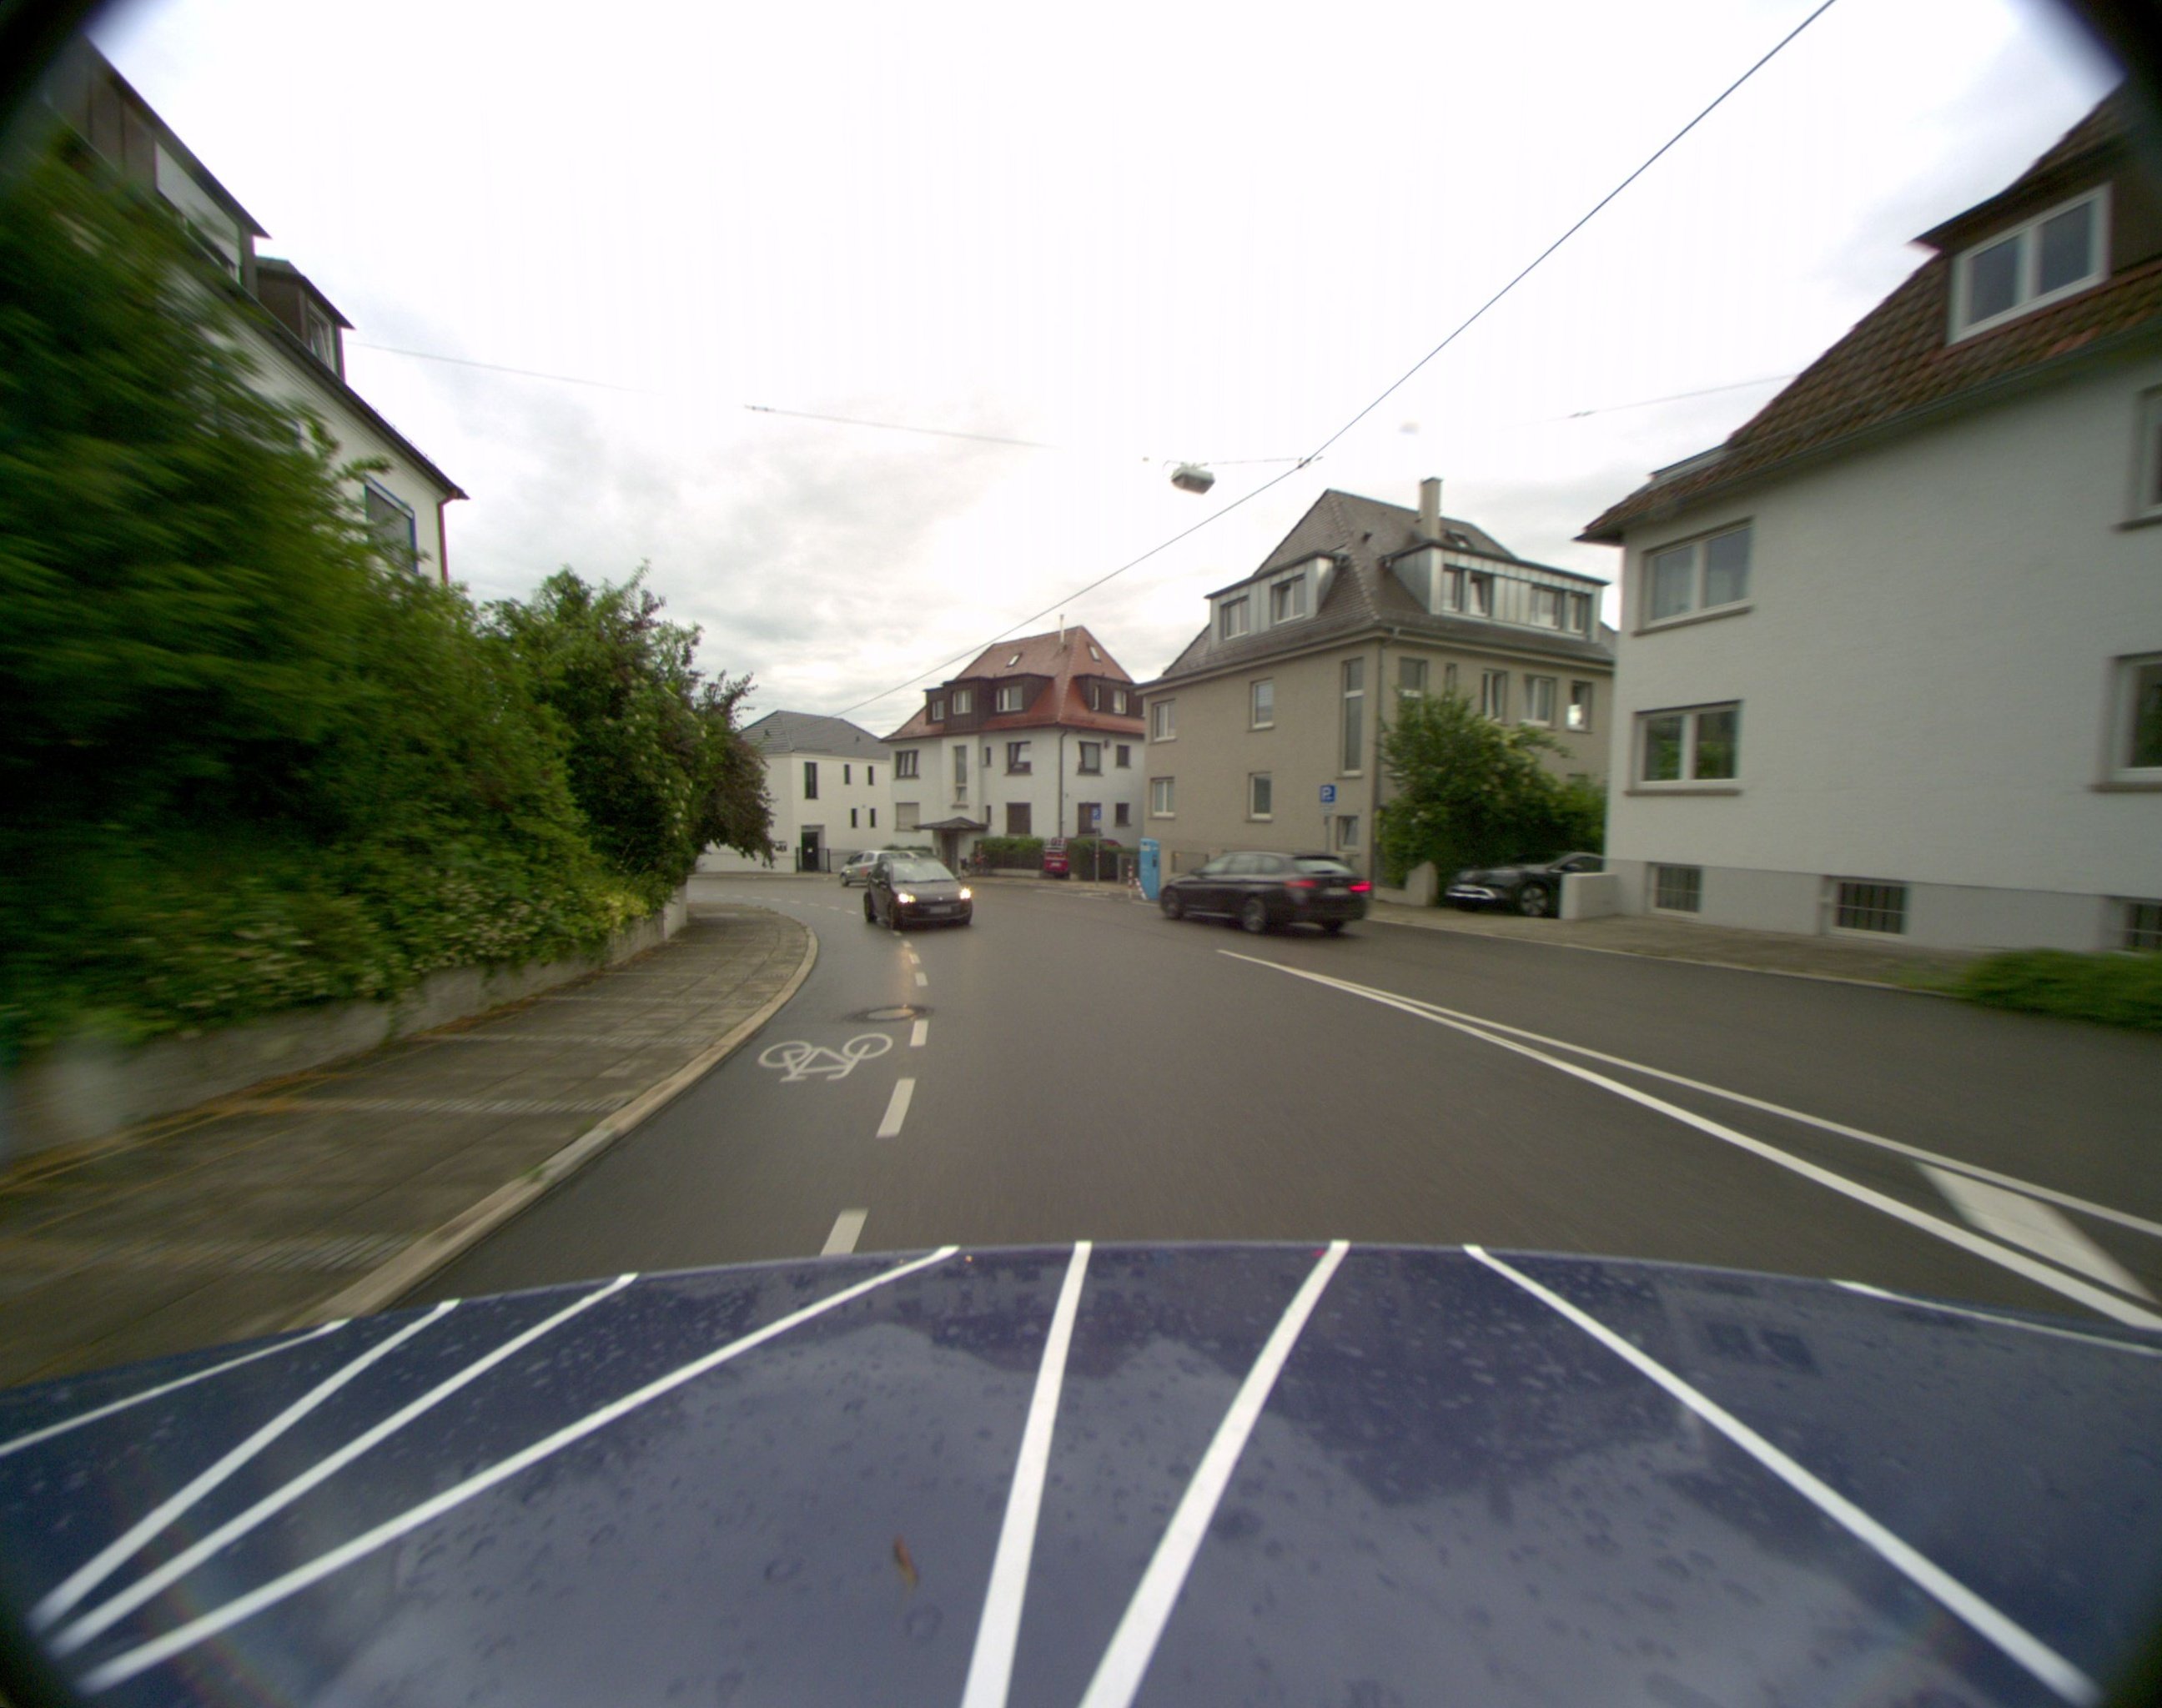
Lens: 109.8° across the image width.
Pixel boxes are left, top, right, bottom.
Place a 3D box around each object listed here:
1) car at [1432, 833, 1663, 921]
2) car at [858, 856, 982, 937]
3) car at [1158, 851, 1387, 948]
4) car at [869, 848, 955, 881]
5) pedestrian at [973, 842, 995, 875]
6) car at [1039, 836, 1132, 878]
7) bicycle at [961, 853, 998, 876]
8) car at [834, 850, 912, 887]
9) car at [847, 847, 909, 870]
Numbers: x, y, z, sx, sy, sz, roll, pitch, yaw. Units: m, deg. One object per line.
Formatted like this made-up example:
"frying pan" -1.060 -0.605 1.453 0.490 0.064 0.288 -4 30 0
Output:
"car" 10.243 0.427 16.756 4.256 1.614 1.996 -3 2 -17
"car" -3.660 0.842 16.808 1.683 1.405 3.629 -6 3 -27
"car" 3.391 0.716 14.526 1.878 1.483 4.627 0 1 -22
"car" -8.131 0.474 36.391 4.217 1.417 1.845 0 2 41
"pedestrian" -4.783 0.233 37.490 0.493 1.569 0.949 -1 4 34
"car" 0.264 0.163 35.046 4.009 1.812 1.994 1 -1 -43
"bicycle" -4.931 0.524 36.823 1.916 1.061 0.458 -1 4 37
"car" -8.765 0.591 31.848 1.495 1.415 3.845 1 0 -43
"car" -13.668 0.315 51.398 1.737 1.344 4.009 2 -1 29
